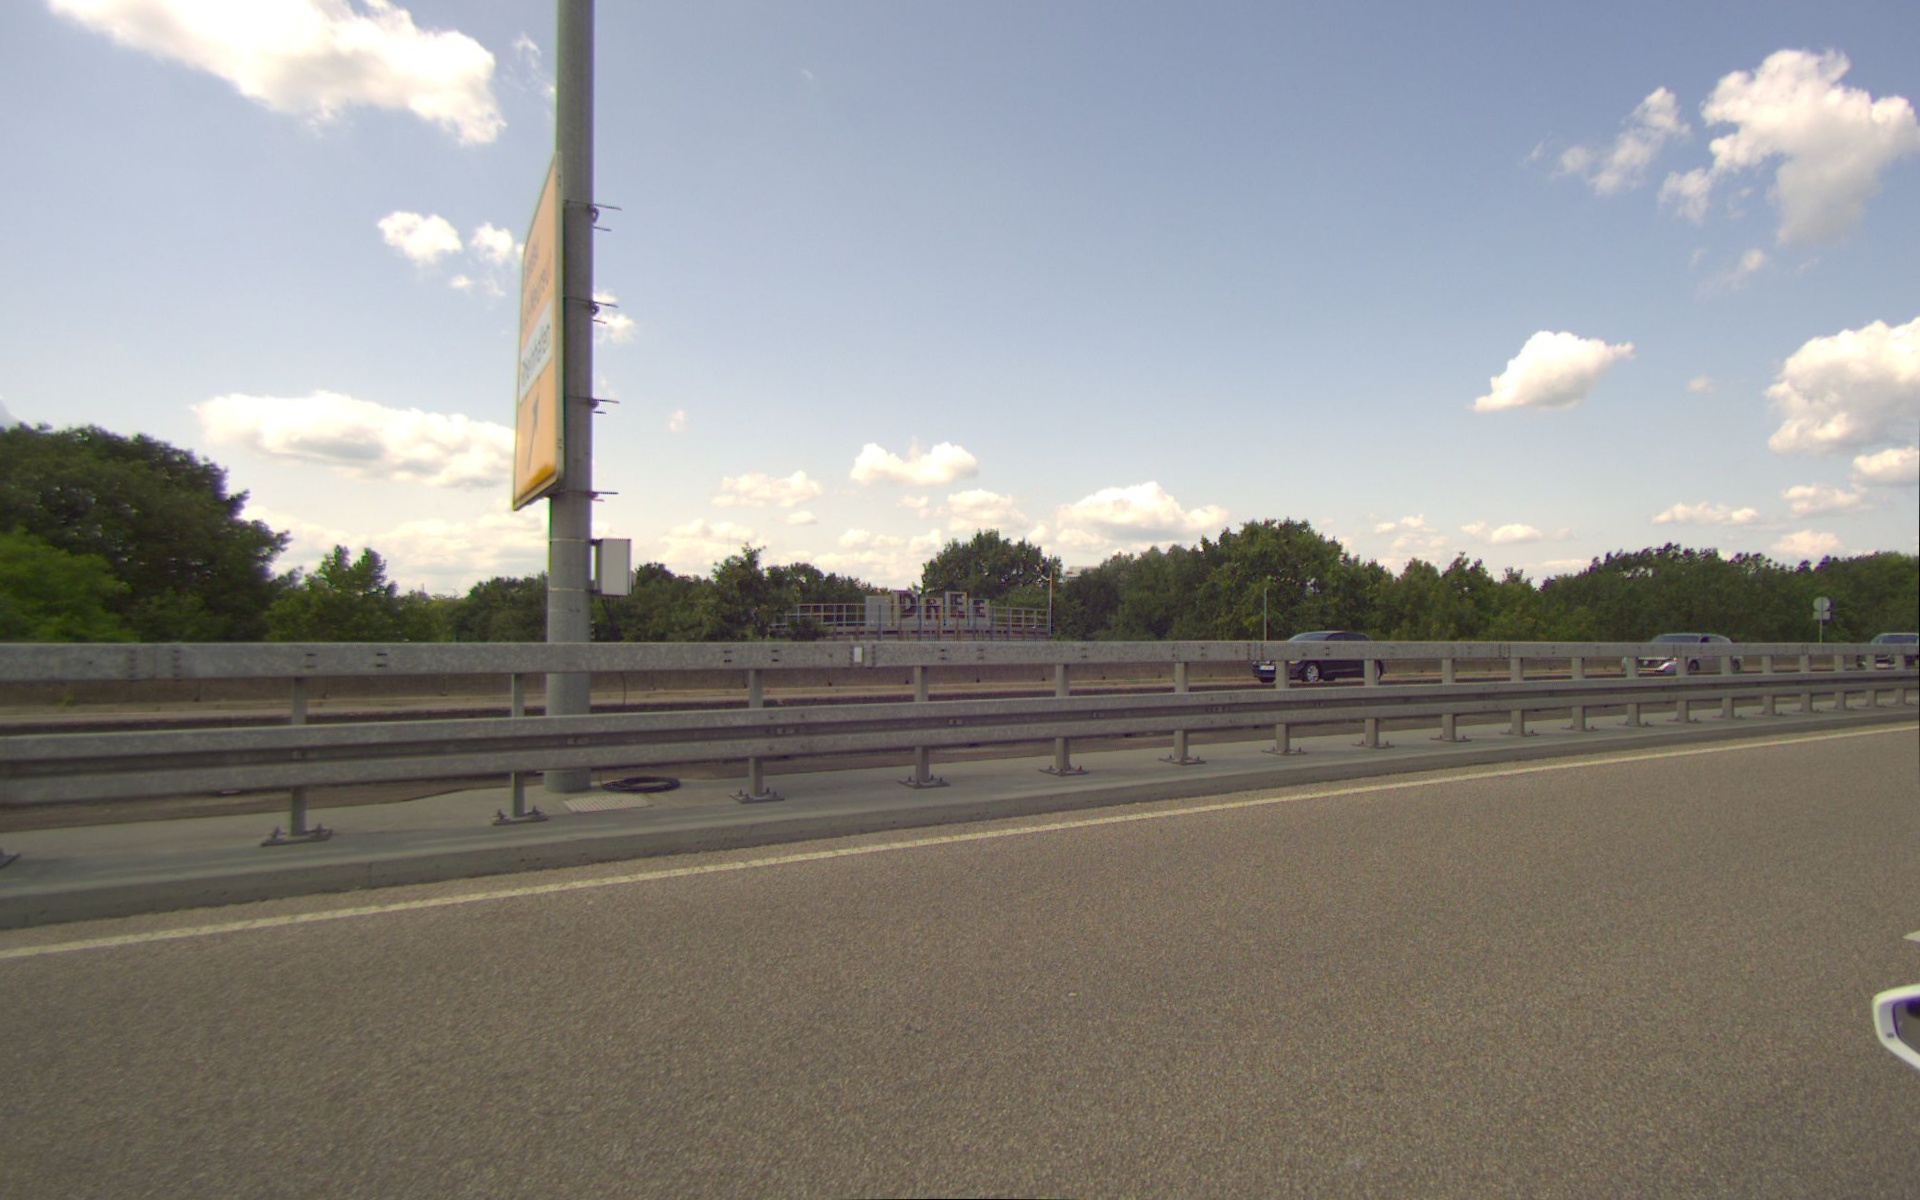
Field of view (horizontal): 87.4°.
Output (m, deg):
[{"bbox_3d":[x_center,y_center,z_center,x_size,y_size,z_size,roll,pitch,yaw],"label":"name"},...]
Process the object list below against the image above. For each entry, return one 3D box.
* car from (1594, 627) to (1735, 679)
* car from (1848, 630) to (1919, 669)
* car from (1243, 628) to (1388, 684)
[{"bbox_3d":[21.409,1.568,30.488,4.566,1.439,1.769,1,-1,-30],"label":"car"},{"bbox_3d":[38.213,1.983,40.820,4.466,1.483,1.903,1,-1,-30],"label":"car"},{"bbox_3d":[9.845,1.522,27.774,3.954,1.420,1.670,1,-1,-31],"label":"car"}]
